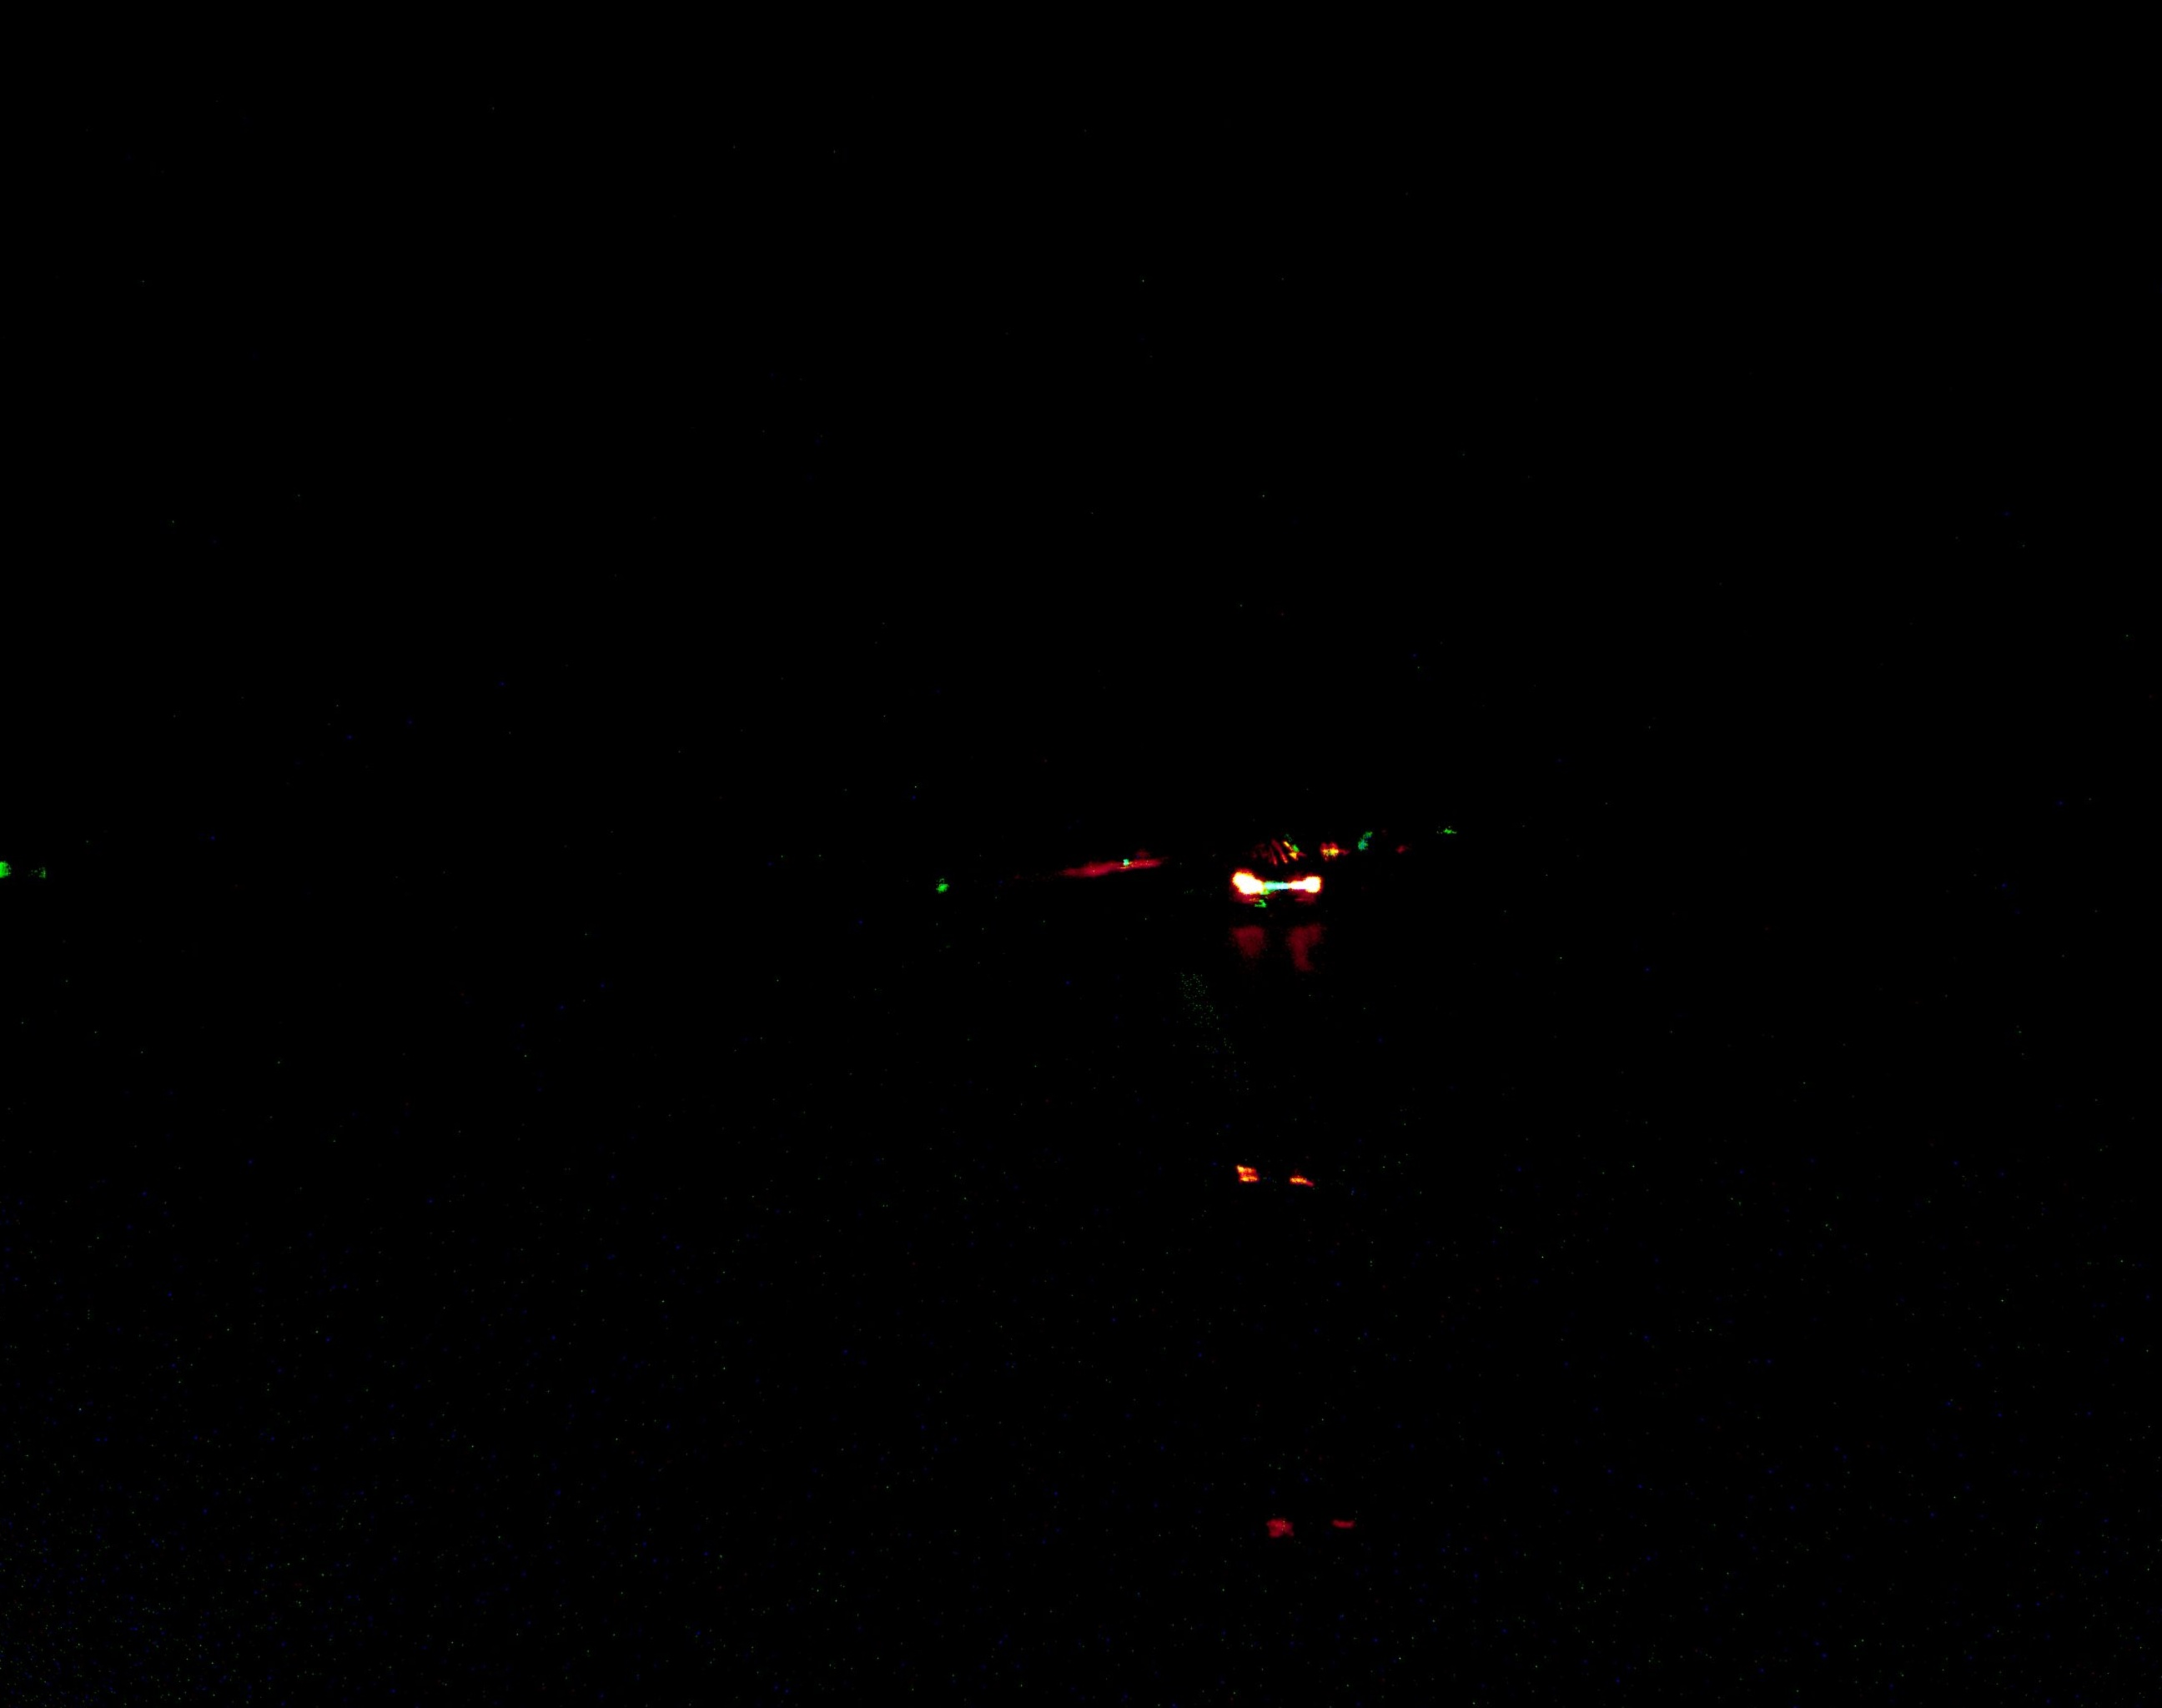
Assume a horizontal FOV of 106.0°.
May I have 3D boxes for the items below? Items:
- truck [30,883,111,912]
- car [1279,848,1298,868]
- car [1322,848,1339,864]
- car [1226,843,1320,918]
[{"bbox_3d":[-82.780,3.540,66.840,2.007,2.014,7.179,2,-1,-33],"label":"truck"},{"bbox_3d":[22.512,0.424,88.253,1.881,2.040,4.062,-1,-1,16],"label":"car"},{"bbox_3d":[32.642,0.268,106.479,1.879,1.998,4.066,-1,0,21],"label":"car"},{"bbox_3d":[4.602,0.579,20.066,1.850,1.647,4.077,0,0,7],"label":"car"}]
